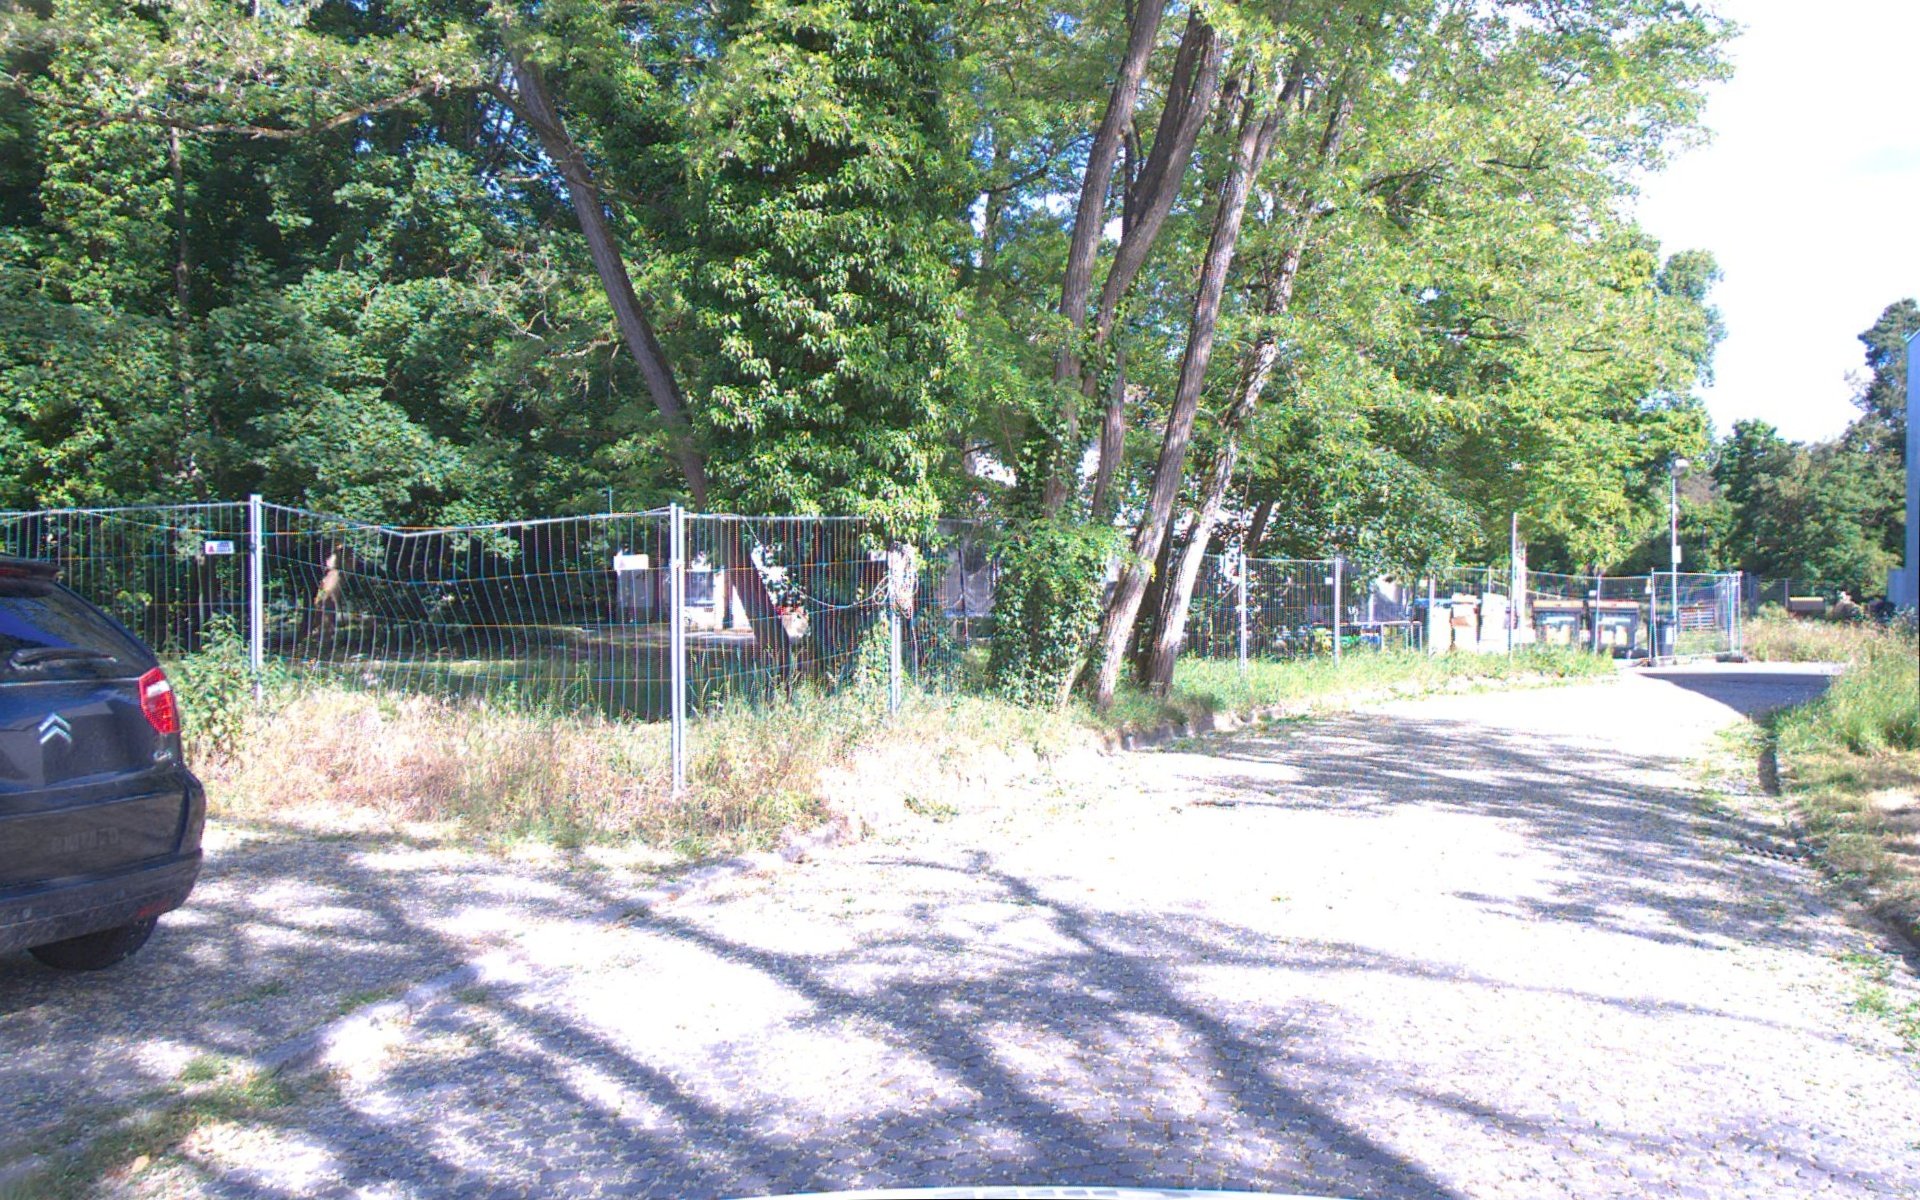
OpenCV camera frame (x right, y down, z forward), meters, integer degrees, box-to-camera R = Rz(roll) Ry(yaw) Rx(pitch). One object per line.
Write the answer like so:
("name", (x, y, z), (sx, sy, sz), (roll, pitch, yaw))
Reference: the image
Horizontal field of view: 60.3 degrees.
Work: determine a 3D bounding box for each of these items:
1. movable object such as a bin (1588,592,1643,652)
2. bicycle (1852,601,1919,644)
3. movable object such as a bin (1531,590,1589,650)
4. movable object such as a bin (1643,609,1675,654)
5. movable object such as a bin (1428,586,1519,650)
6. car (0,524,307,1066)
("movable object such as a bin", (16.563, 0.547, 41.810), (1.218, 1.470, 0.703), (0, 0, 16))
("bicycle", (29.225, 0.699, 51.395), (2.579, 1.288, 1.140), (0, 0, 26))
("movable object such as a bin", (15.371, 0.511, 42.396), (1.309, 1.510, 0.807), (0, 0, 16))
("movable object such as a bin", (17.508, 0.778, 41.423), (0.721, 1.116, 0.818), (0, 0, 25))
("movable object such as a bin", (13.297, 0.441, 42.906), (2.240, 1.619, 1.175), (0, 0, 16))
("car", (-4.828, 0.511, 6.157), (4.196, 1.681, 1.794), (3, 1, 16))
